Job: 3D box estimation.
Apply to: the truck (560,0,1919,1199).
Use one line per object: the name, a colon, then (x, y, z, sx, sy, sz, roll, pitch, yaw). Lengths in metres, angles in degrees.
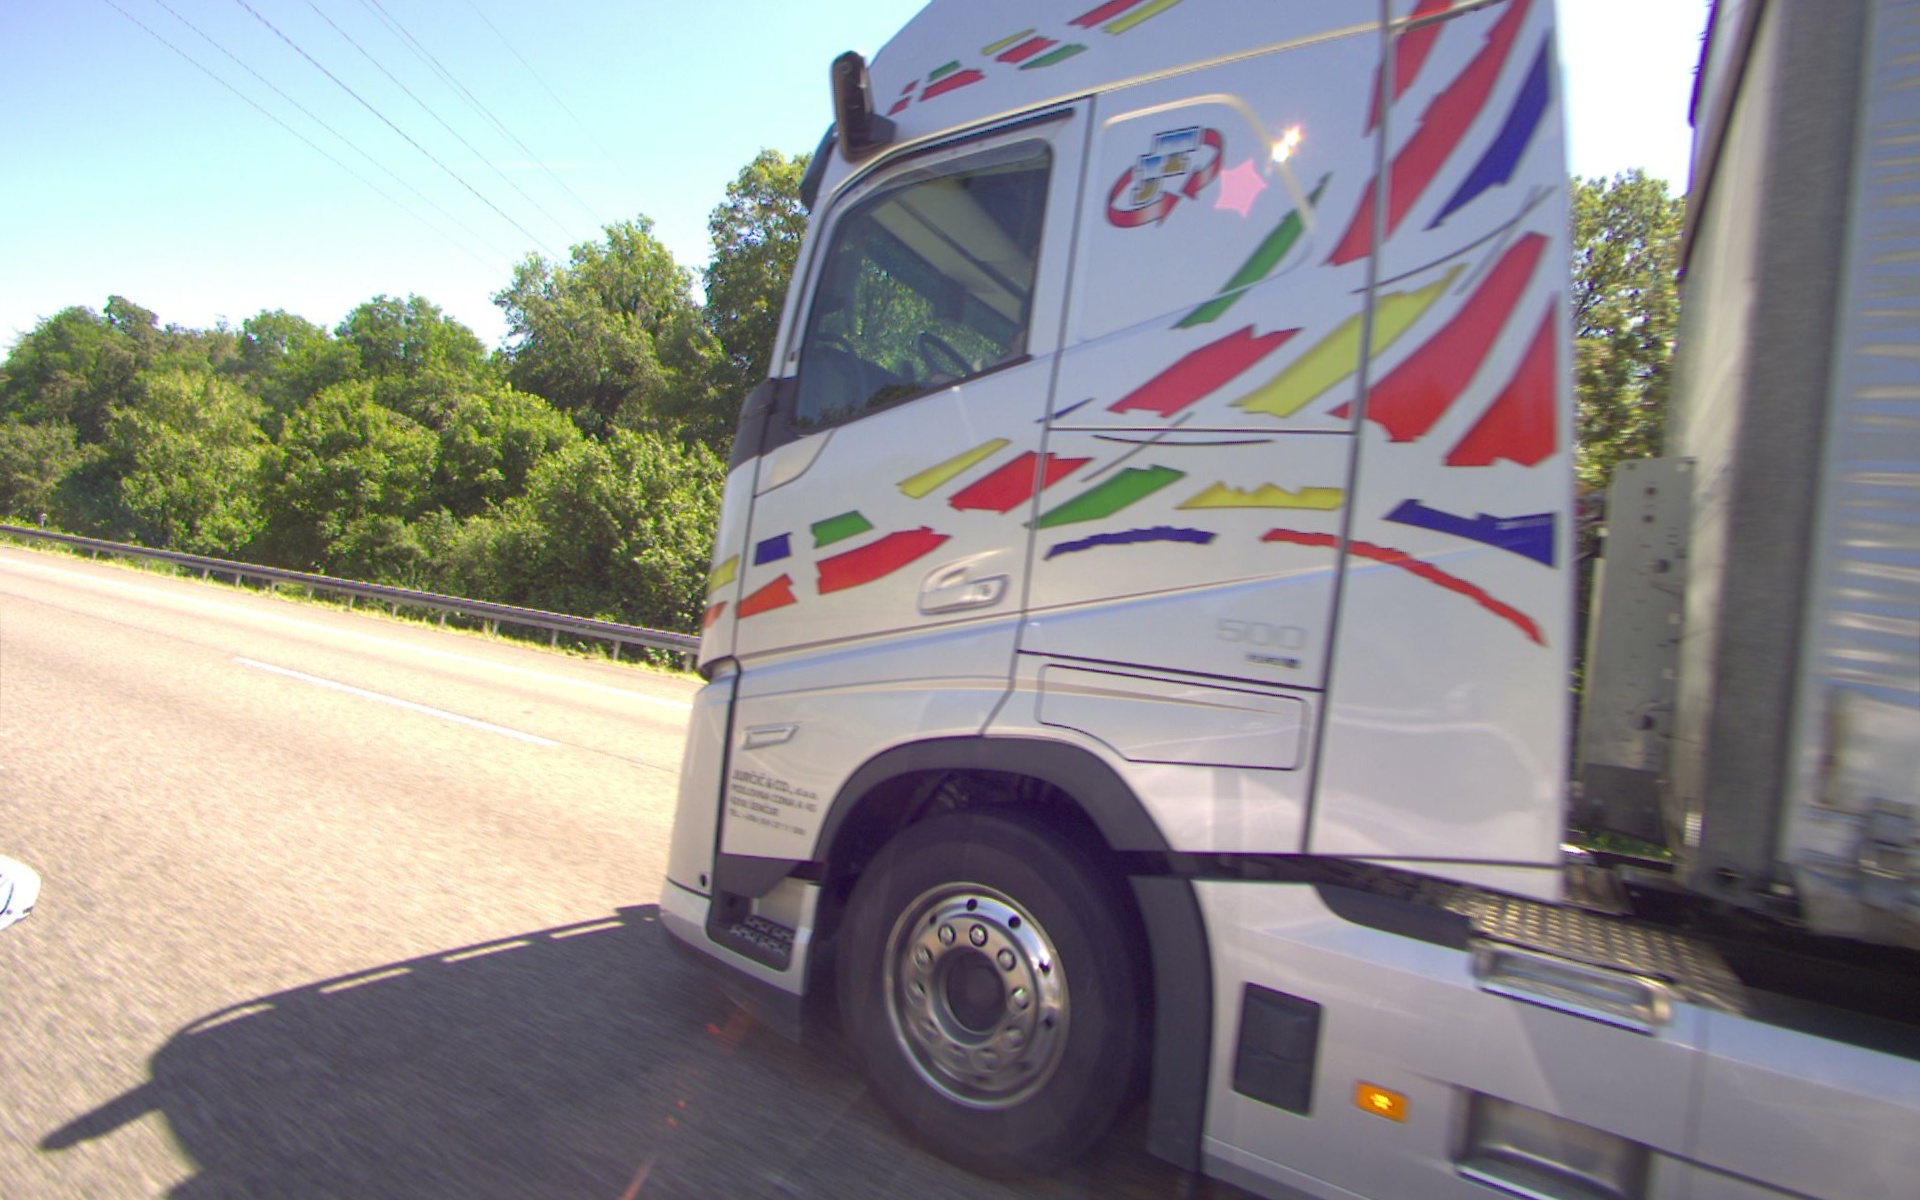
truck: (2.295, -0.188, 2.926, 6.393, 4.021, 2.728, 7, -1, 31)
